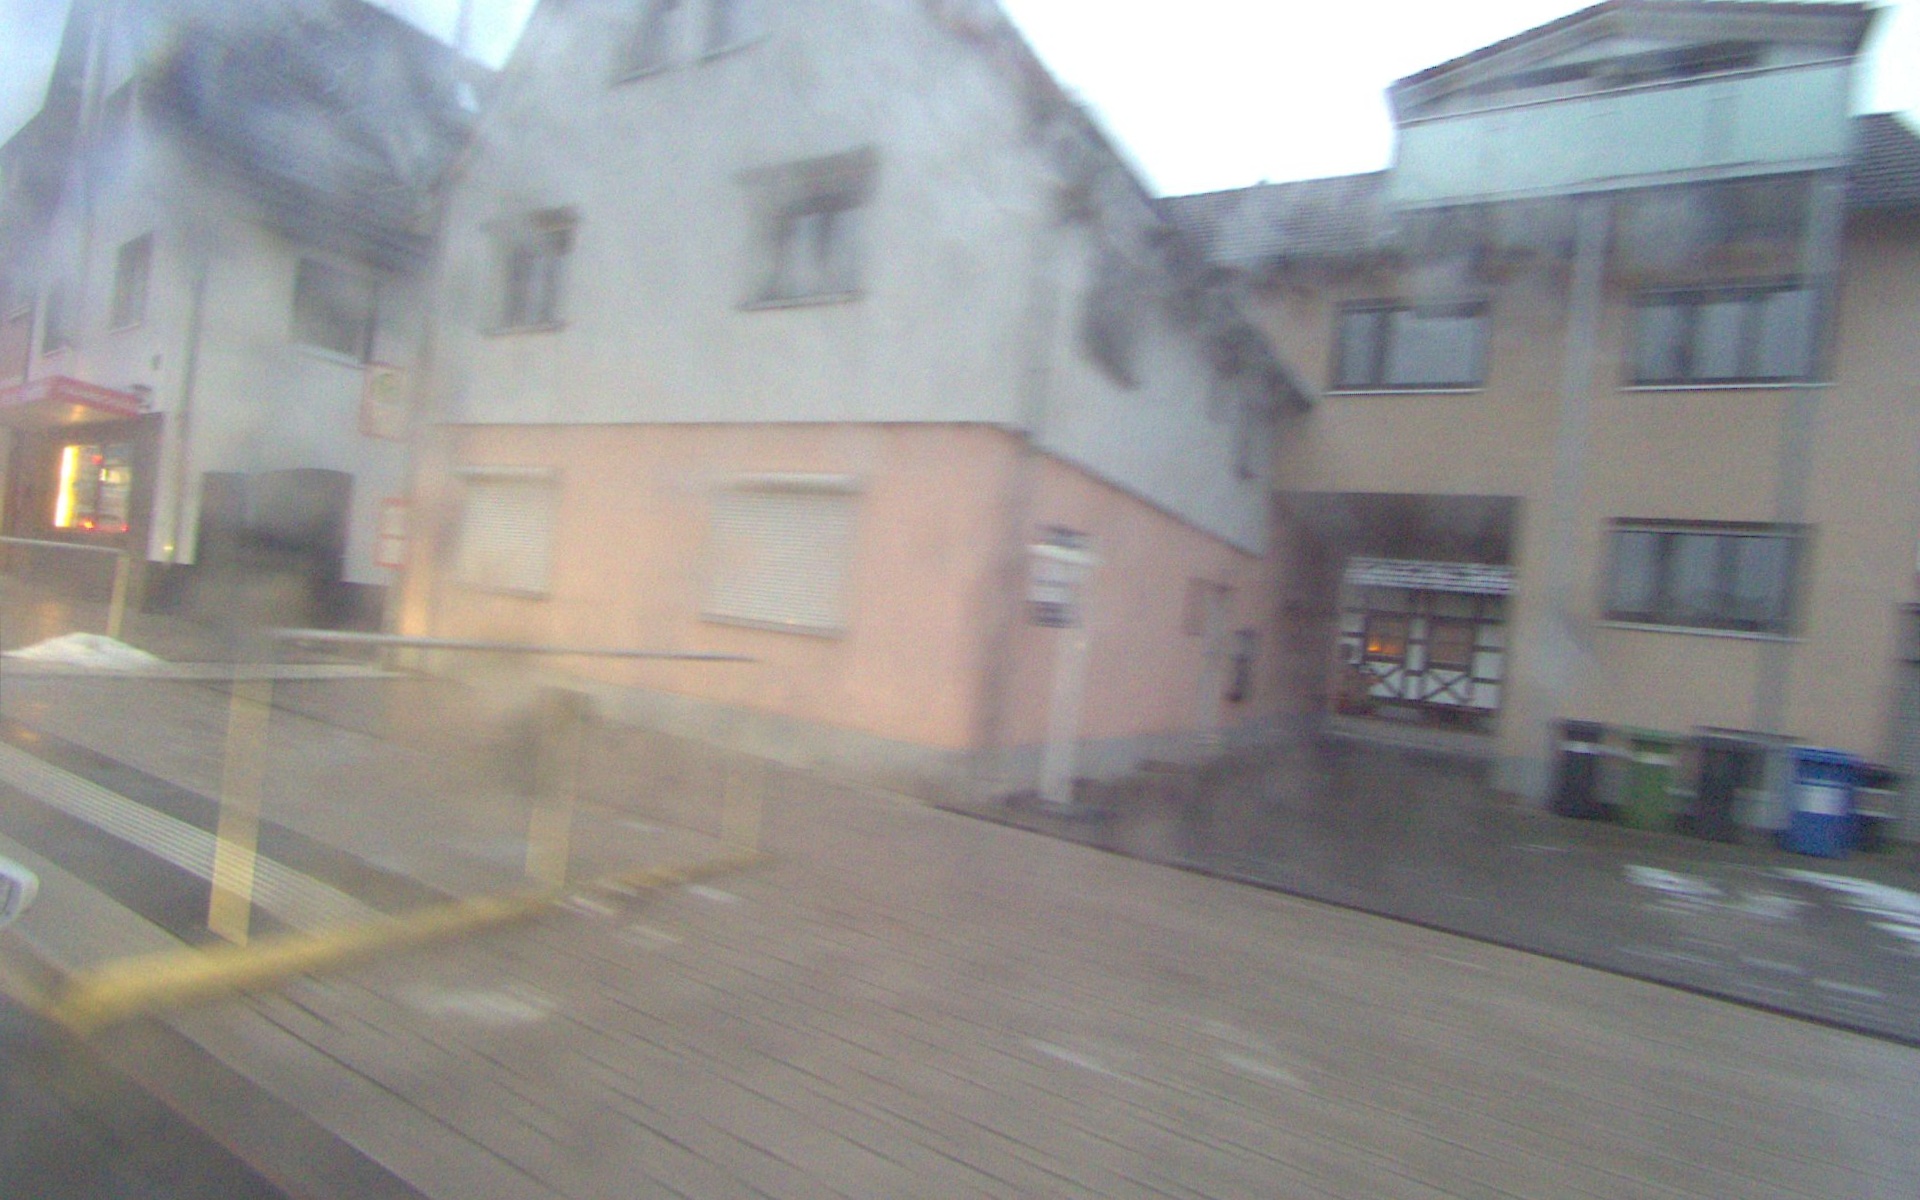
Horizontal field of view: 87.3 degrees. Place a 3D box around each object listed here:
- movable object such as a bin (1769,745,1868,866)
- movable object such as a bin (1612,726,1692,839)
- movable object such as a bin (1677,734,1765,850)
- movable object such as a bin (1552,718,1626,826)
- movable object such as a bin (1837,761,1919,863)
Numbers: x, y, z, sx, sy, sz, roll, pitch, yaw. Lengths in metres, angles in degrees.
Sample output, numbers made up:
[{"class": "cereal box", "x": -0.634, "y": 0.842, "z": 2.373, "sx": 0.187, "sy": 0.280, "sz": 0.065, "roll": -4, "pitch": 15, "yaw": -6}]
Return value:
[{"class": "movable object such as a bin", "x": 8.690, "y": 2.056, "z": 10.207, "sx": 0.534, "sy": 1.053, "sz": 0.728, "roll": 7, "pitch": 0, "yaw": 30}, {"class": "movable object such as a bin", "x": 7.391, "y": 1.931, "z": 10.778, "sx": 0.534, "sy": 1.053, "sz": 0.728, "roll": 7, "pitch": 0, "yaw": 30}, {"class": "movable object such as a bin", "x": 7.932, "y": 1.980, "z": 10.518, "sx": 0.534, "sy": 1.053, "sz": 0.728, "roll": 7, "pitch": 0, "yaw": 30}, {"class": "movable object such as a bin", "x": 6.964, "y": 1.887, "z": 11.168, "sx": 0.552, "sy": 1.053, "sz": 0.728, "roll": 7, "pitch": 0, "yaw": 30}, {"class": "movable object such as a bin", "x": 9.810, "y": 2.249, "z": 10.766, "sx": 0.416, "sy": 0.937, "sz": 0.671, "roll": 7, "pitch": 0, "yaw": 30}]
